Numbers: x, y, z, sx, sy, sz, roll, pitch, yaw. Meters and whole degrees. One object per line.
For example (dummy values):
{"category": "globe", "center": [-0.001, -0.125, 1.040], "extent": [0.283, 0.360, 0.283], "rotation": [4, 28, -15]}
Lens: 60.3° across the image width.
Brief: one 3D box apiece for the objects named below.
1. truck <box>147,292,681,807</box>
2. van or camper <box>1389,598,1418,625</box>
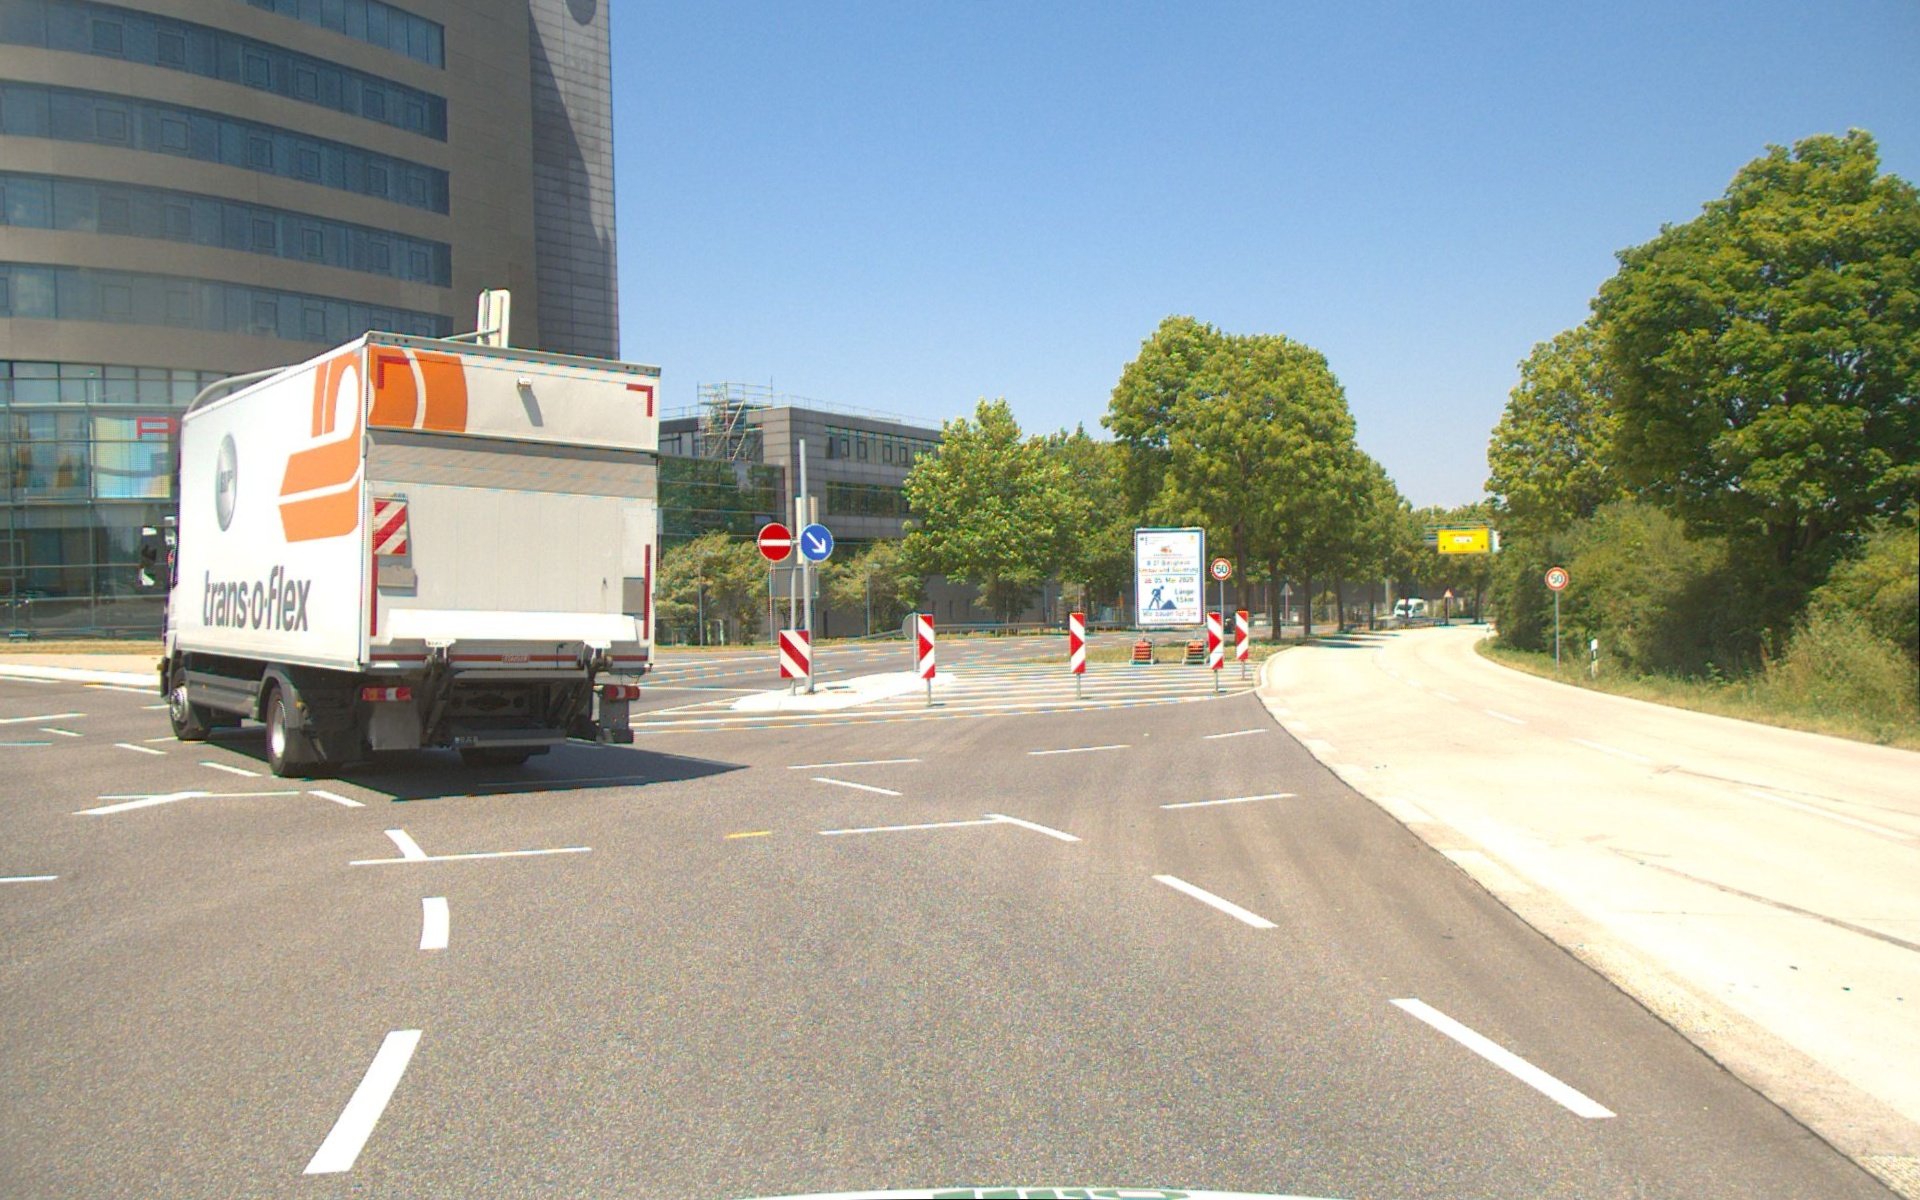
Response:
{"category": "truck", "center": [-6.173, -0.282, 17.219], "extent": [2.747, 3.927, 9.253], "rotation": [0, -1, -35]}
{"category": "van or camper", "center": [46.476, 1.228, 173.263], "extent": [1.956, 2.729, 3.992], "rotation": [0, -1, 30]}
